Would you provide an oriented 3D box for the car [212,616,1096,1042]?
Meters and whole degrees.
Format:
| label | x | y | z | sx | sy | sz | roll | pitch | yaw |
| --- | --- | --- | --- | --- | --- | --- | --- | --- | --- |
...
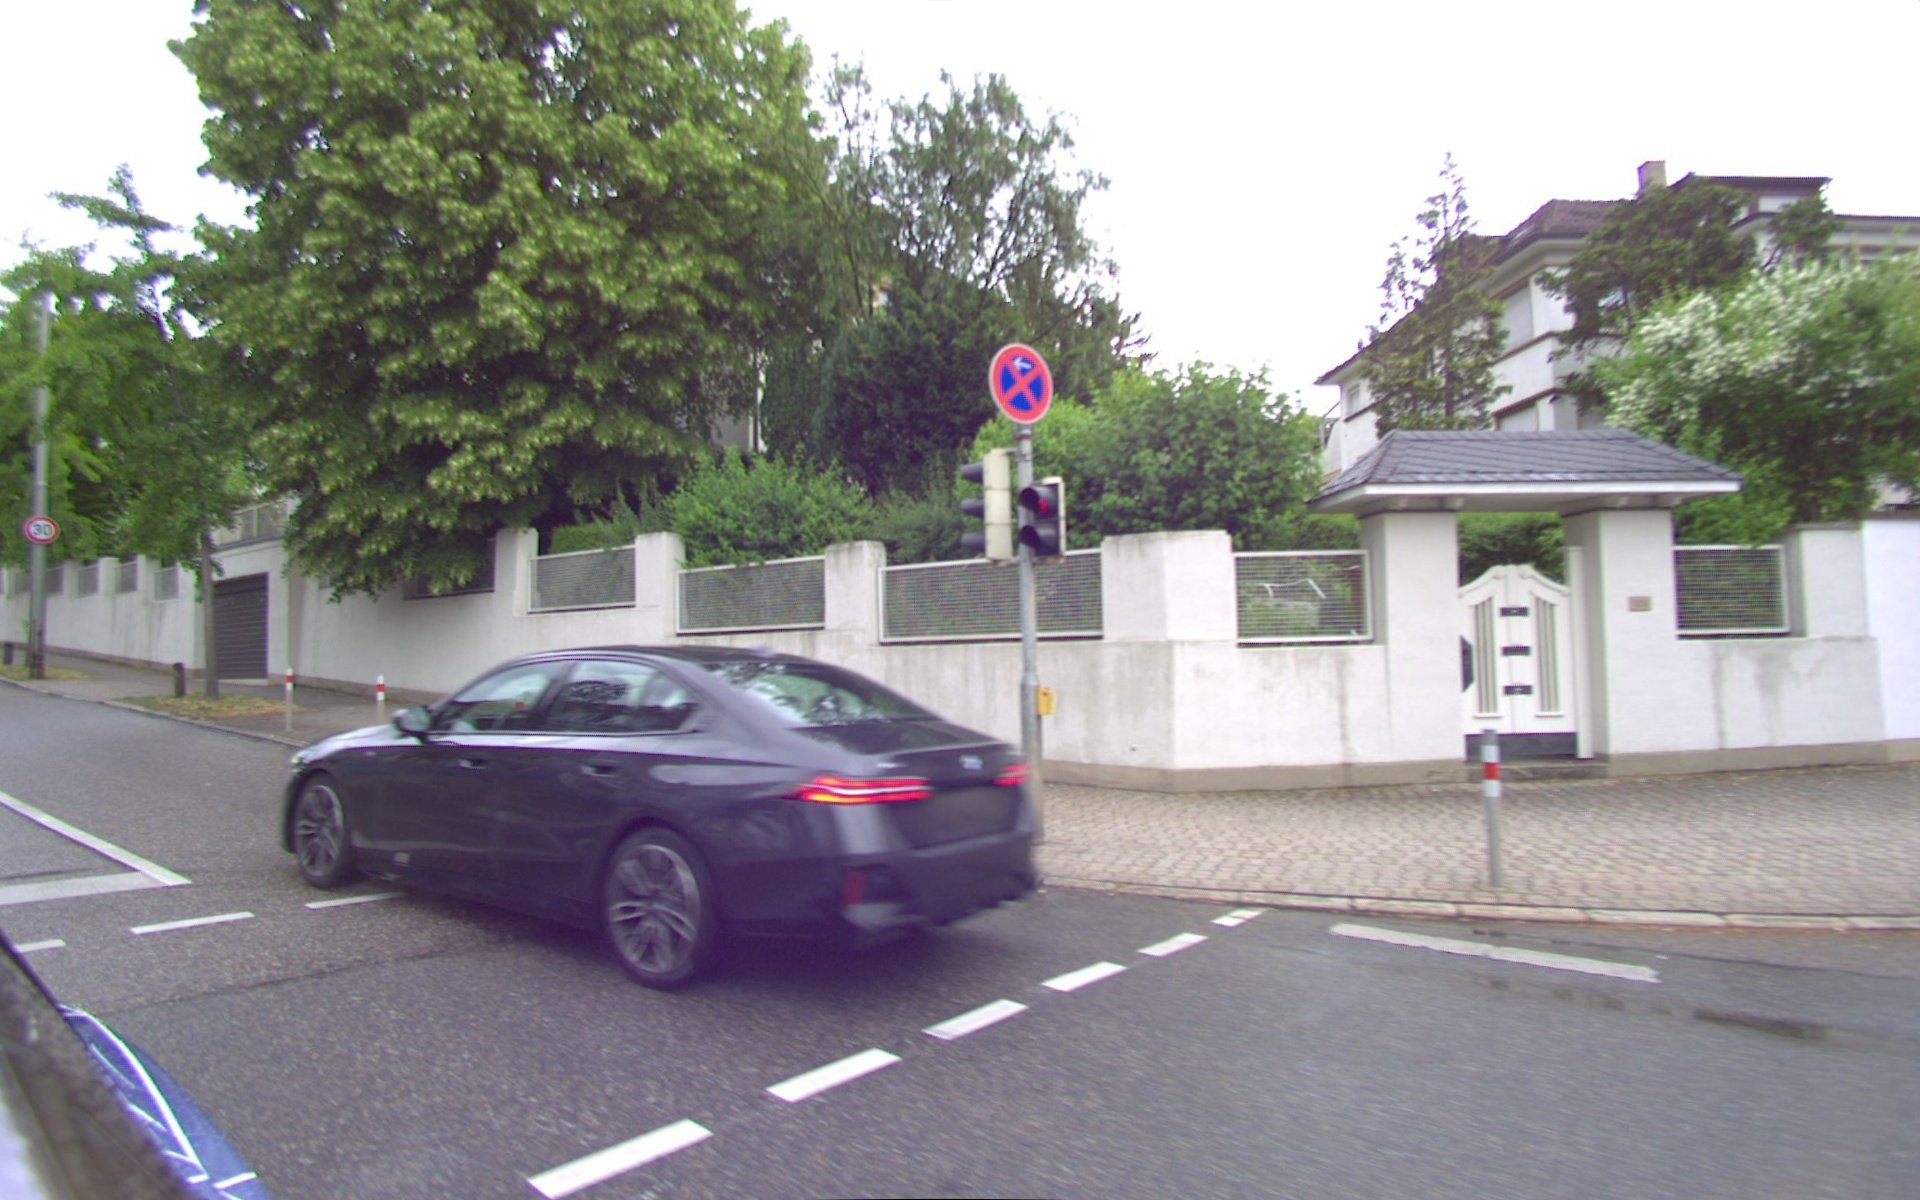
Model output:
| label | x | y | z | sx | sy | sz | roll | pitch | yaw |
| --- | --- | --- | --- | --- | --- | --- | --- | --- | --- |
| car | -2.041 | 0.898 | 5.824 | 5.350 | 1.497 | 1.838 | -1 | -3 | 33 |
